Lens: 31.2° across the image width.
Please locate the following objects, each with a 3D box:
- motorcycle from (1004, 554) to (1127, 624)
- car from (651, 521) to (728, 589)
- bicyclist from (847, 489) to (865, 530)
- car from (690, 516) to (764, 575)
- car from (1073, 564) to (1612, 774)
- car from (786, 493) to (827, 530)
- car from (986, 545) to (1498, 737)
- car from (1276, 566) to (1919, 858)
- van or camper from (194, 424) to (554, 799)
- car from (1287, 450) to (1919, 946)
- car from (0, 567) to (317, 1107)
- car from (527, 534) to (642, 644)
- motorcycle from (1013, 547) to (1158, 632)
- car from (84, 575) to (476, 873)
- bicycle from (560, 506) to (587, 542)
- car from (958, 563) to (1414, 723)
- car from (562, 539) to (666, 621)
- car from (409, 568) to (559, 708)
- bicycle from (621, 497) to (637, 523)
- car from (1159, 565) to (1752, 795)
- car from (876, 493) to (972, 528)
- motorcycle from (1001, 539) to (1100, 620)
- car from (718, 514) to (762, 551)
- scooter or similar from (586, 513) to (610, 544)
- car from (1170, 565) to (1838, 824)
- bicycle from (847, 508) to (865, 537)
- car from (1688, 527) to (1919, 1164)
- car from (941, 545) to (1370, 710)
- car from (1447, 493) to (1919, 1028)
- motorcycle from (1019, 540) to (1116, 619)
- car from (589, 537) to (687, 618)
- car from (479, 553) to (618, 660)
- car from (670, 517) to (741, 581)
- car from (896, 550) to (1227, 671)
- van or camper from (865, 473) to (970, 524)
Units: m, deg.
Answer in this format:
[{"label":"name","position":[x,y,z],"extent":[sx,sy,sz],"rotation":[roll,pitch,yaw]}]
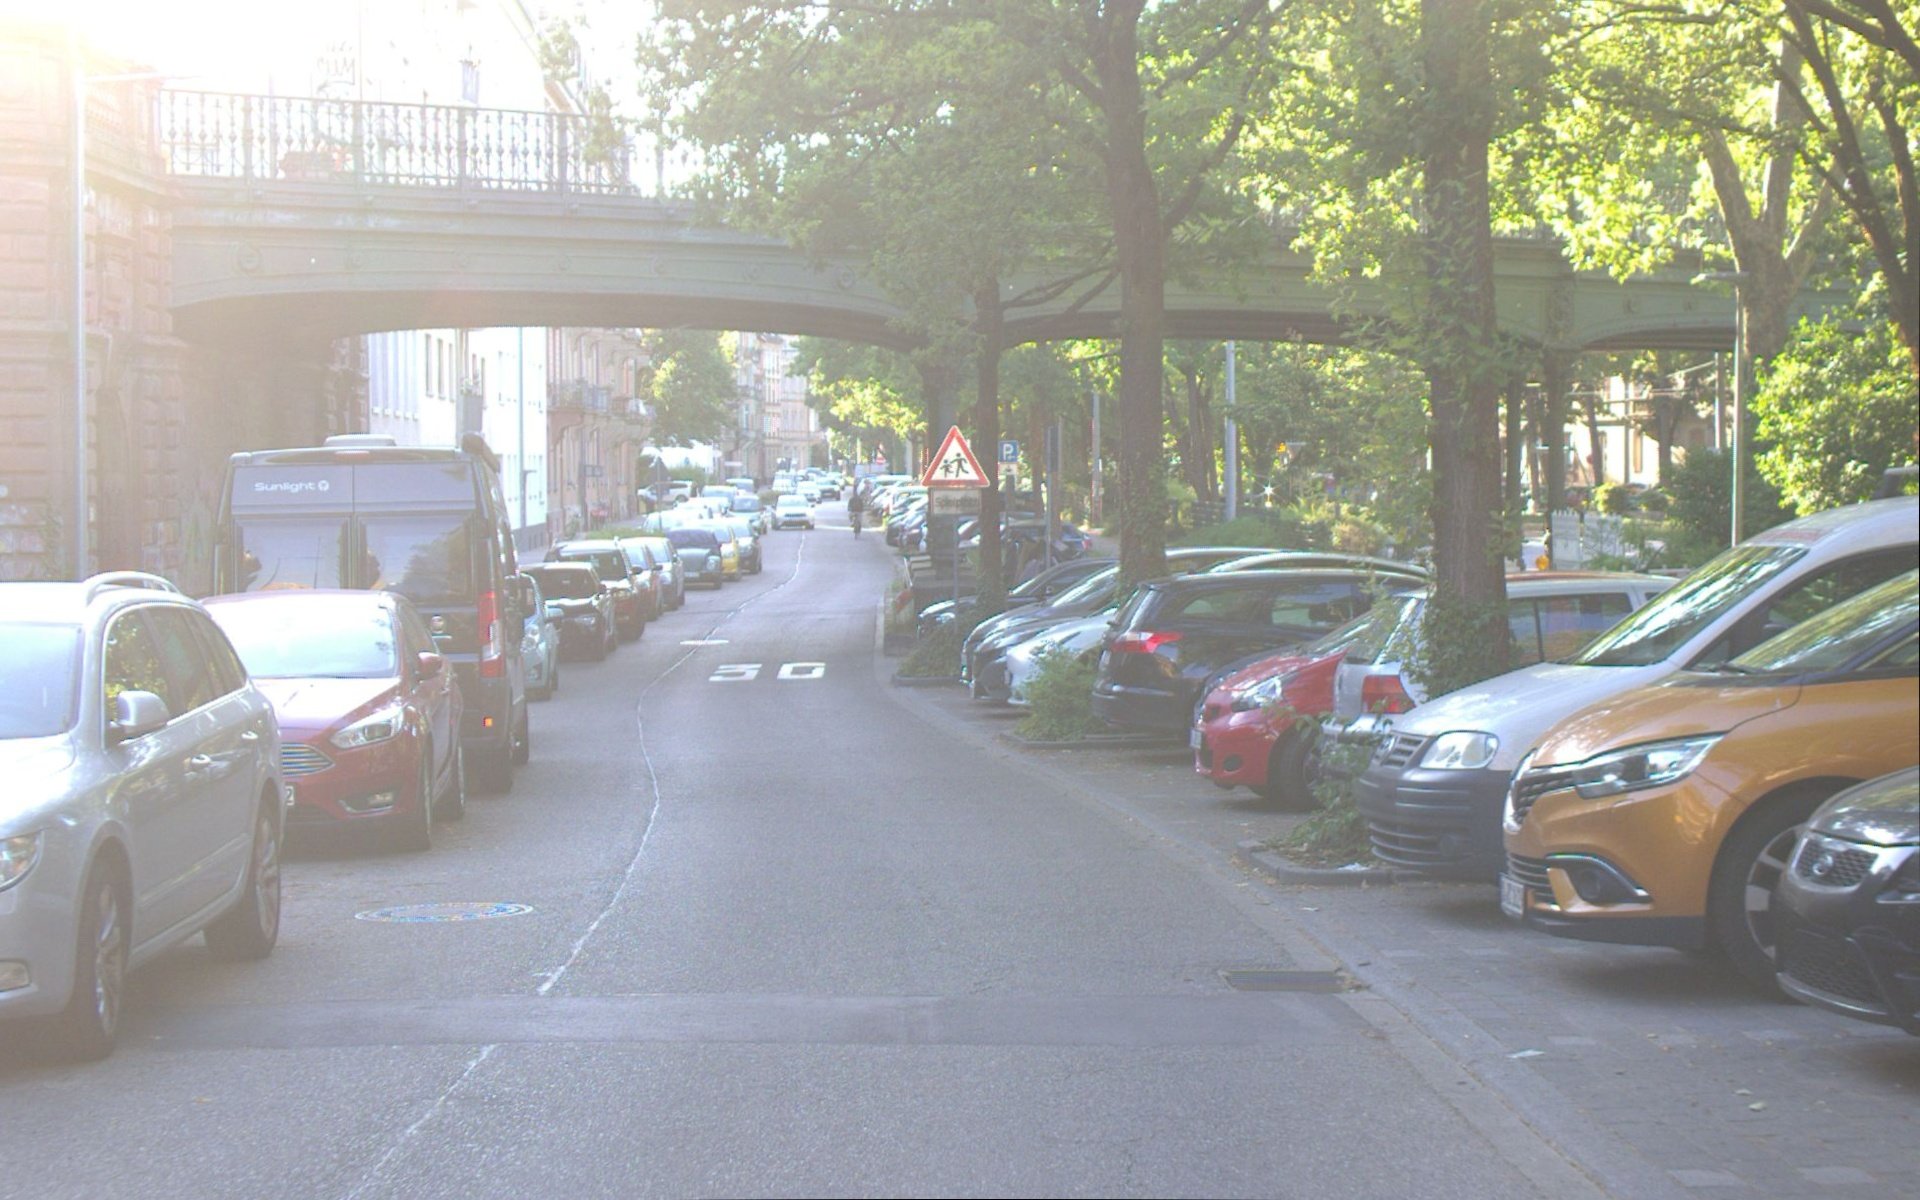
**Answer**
[{"label":"motorcycle","position":[1.738,-0.184,56.765],"extent":[1.831,1.128,0.851],"rotation":[1,1,-25]},{"label":"car","position":[-6.390,-1.088,81.497],"extent":[1.566,1.512,3.783],"rotation":[-1,2,-1]},{"label":"bicyclist","position":[-4.037,-3.509,133.289],"extent":[0.627,1.568,0.802],"rotation":[1,0,-3]},{"label":"car","position":[-6.260,-1.481,92.627],"extent":[1.739,1.474,4.001],"rotation":[-1,2,-1]},{"label":"car","position":[2.987,0.529,27.319],"extent":[4.020,1.568,1.587],"rotation":[1,0,-4]},{"label":"car","position":[-6.753,-3.911,151.180],"extent":[1.668,1.425,4.001],"rotation":[-3,3,-2]},{"label":"car","position":[2.582,0.365,32.268],"extent":[4.531,1.690,1.908],"rotation":[1,0,-4]},{"label":"car","position":[3.907,0.617,19.846],"extent":[3.987,1.568,1.666],"rotation":[1,0,0]},{"label":"van or camper","position":[-4.338,0.049,26.460],"extent":[2.235,2.514,6.423],"rotation":[1,1,-5]},{"label":"car","position":[3.937,0.333,15.044],"extent":[4.670,1.918,1.873],"rotation":[-3,1,-4]},{"label":"car","position":[-3.481,0.663,11.802],"extent":[1.699,1.492,4.550],"rotation":[-2,1,-1]},{"label":"car","position":[-6.313,-0.227,58.124],"extent":[1.716,1.702,4.324],"rotation":[-1,2,-4]},{"label":"motorcycle","position":[1.862,-0.161,51.025],"extent":[1.929,1.233,0.905],"rotation":[1,1,-27]},{"label":"car","position":[-3.859,0.632,20.137],"extent":[1.699,1.502,4.229],"rotation":[-2,1,-4]},{"label":"bicycle","position":[-13.620,-2.680,121.167],"extent":[0.737,1.202,2.514],"rotation":[1,3,-1]},{"label":"car","position":[2.235,0.416,34.820],"extent":[4.373,1.527,1.876],"rotation":[1,0,-4]},{"label":"car","position":[-6.570,-0.409,65.660],"extent":[1.689,1.436,4.001],"rotation":[-1,2,-2]},{"label":"car","position":[-5.812,0.426,42.303],"extent":[1.594,1.542,3.916],"rotation":[-2,1,-5]},{"label":"bicycle","position":[-15.615,-4.244,162.206],"extent":[0.704,1.143,1.890],"rotation":[1,1,-5]},{"label":"car","position":[3.534,0.561,24.927],"extent":[3.986,1.568,1.587],"rotation":[1,0,-4]},{"label":"car","position":[-1.627,-4.039,155.164],"extent":[4.220,1.448,1.649],"rotation":[-2,2,2]},{"label":"motorcycle","position":[1.616,-0.367,61.056],"extent":[1.601,1.403,0.712],"rotation":[1,0,18]},{"label":"car","position":[-9.046,-2.790,141.699],"extent":[1.504,1.430,2.753],"rotation":[-1,2,2]},{"label":"scooter or similar","position":[-14.648,-2.906,139.160],"extent":[0.783,1.218,2.704],"rotation":[1,1,-2]},{"label":"car","position":[3.446,0.587,22.193],"extent":[3.986,1.568,1.587],"rotation":[1,0,-4]},{"label":"bicycle","position":[-4.035,-2.994,133.226],"extent":[0.641,1.096,1.944],"rotation":[1,1,-3]},{"label":"car","position":[4.315,0.639,9.834],"extent":[3.986,1.622,1.799],"rotation":[1,0,-6]},{"label":"car","position":[2.074,0.285,37.326],"extent":[4.373,1.702,1.907],"rotation":[1,0,-6]},{"label":"car","position":[3.848,0.541,12.261],"extent":[3.987,1.752,1.799],"rotation":[1,0,2]},{"label":"motorcycle","position":[1.936,-0.371,61.978],"extent":[1.601,1.403,0.712],"rotation":[1,0,18]},{"label":"car","position":[-6.524,-0.485,69.925],"extent":[1.636,1.461,4.001],"rotation":[-3,2,-1]},{"label":"car","position":[-6.212,0.063,52.248],"extent":[1.716,1.459,4.001],"rotation":[-1,2,-2]},{"label":"car","position":[-6.474,-1.321,87.750],"extent":[1.702,1.520,3.774],"rotation":[-1,2,-3]},{"label":"car","position":[1.352,0.129,47.137],"extent":[4.373,1.572,1.675],"rotation":[1,0,-4]},{"label":"van or camper","position":[-2.067,-4.945,167.668],"extent":[4.981,2.369,2.185],"rotation":[1,0,-4]}]
